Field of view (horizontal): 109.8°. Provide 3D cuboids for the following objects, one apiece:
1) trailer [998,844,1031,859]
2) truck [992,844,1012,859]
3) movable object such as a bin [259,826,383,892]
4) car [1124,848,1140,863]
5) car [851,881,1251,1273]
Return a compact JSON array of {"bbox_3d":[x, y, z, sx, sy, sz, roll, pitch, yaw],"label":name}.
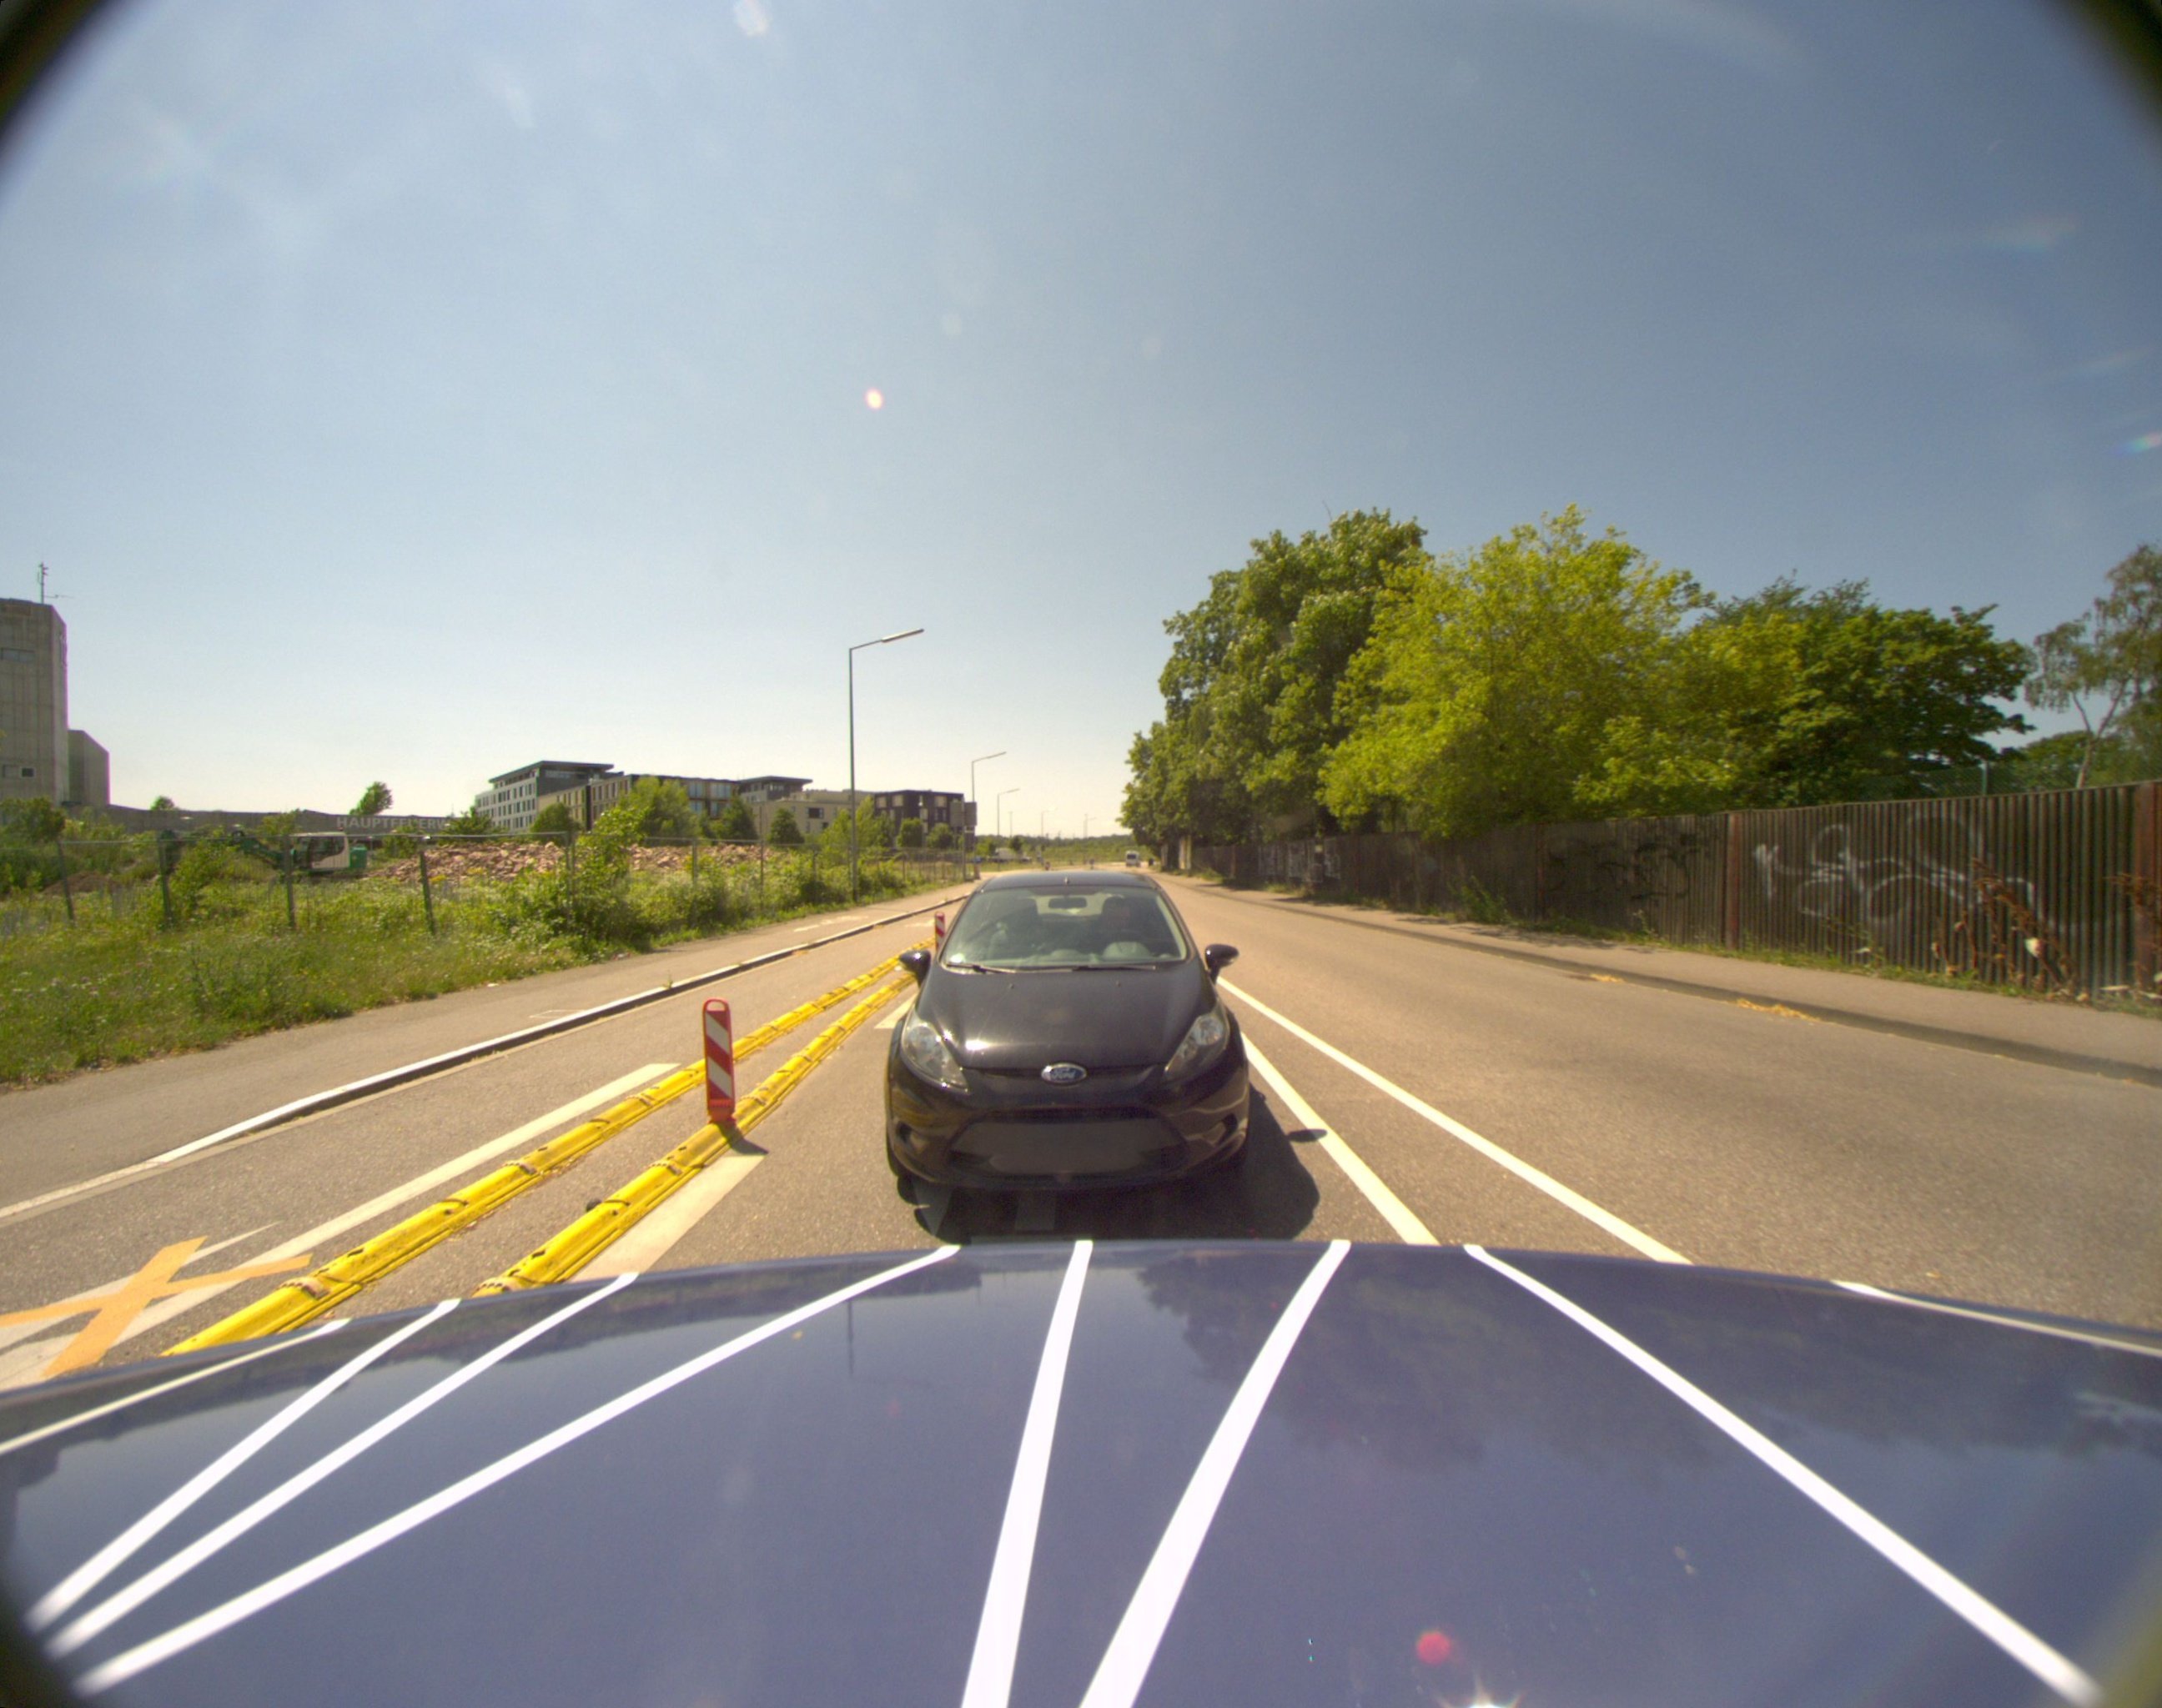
[{"bbox_3d":[-15.142,-0.661,174.435,8.194,3.329,1.994,-1,0,-45],"label":"trailer"},{"bbox_3d":[-17.898,-0.658,171.695,4.008,3.316,1.994,-1,1,-45],"label":"truck"},{"bbox_3d":[-37.633,0.232,37.772,2.204,3.045,3.690,-2,1,6],"label":"movable object such as a bin"},{"bbox_3d":[8.594,0.200,129.223,2.025,2.524,6.825,0,0,-2],"label":"car"},{"bbox_3d":[-0.102,0.991,5.124,1.602,1.422,4.000,-2,0,1],"label":"car"}]
